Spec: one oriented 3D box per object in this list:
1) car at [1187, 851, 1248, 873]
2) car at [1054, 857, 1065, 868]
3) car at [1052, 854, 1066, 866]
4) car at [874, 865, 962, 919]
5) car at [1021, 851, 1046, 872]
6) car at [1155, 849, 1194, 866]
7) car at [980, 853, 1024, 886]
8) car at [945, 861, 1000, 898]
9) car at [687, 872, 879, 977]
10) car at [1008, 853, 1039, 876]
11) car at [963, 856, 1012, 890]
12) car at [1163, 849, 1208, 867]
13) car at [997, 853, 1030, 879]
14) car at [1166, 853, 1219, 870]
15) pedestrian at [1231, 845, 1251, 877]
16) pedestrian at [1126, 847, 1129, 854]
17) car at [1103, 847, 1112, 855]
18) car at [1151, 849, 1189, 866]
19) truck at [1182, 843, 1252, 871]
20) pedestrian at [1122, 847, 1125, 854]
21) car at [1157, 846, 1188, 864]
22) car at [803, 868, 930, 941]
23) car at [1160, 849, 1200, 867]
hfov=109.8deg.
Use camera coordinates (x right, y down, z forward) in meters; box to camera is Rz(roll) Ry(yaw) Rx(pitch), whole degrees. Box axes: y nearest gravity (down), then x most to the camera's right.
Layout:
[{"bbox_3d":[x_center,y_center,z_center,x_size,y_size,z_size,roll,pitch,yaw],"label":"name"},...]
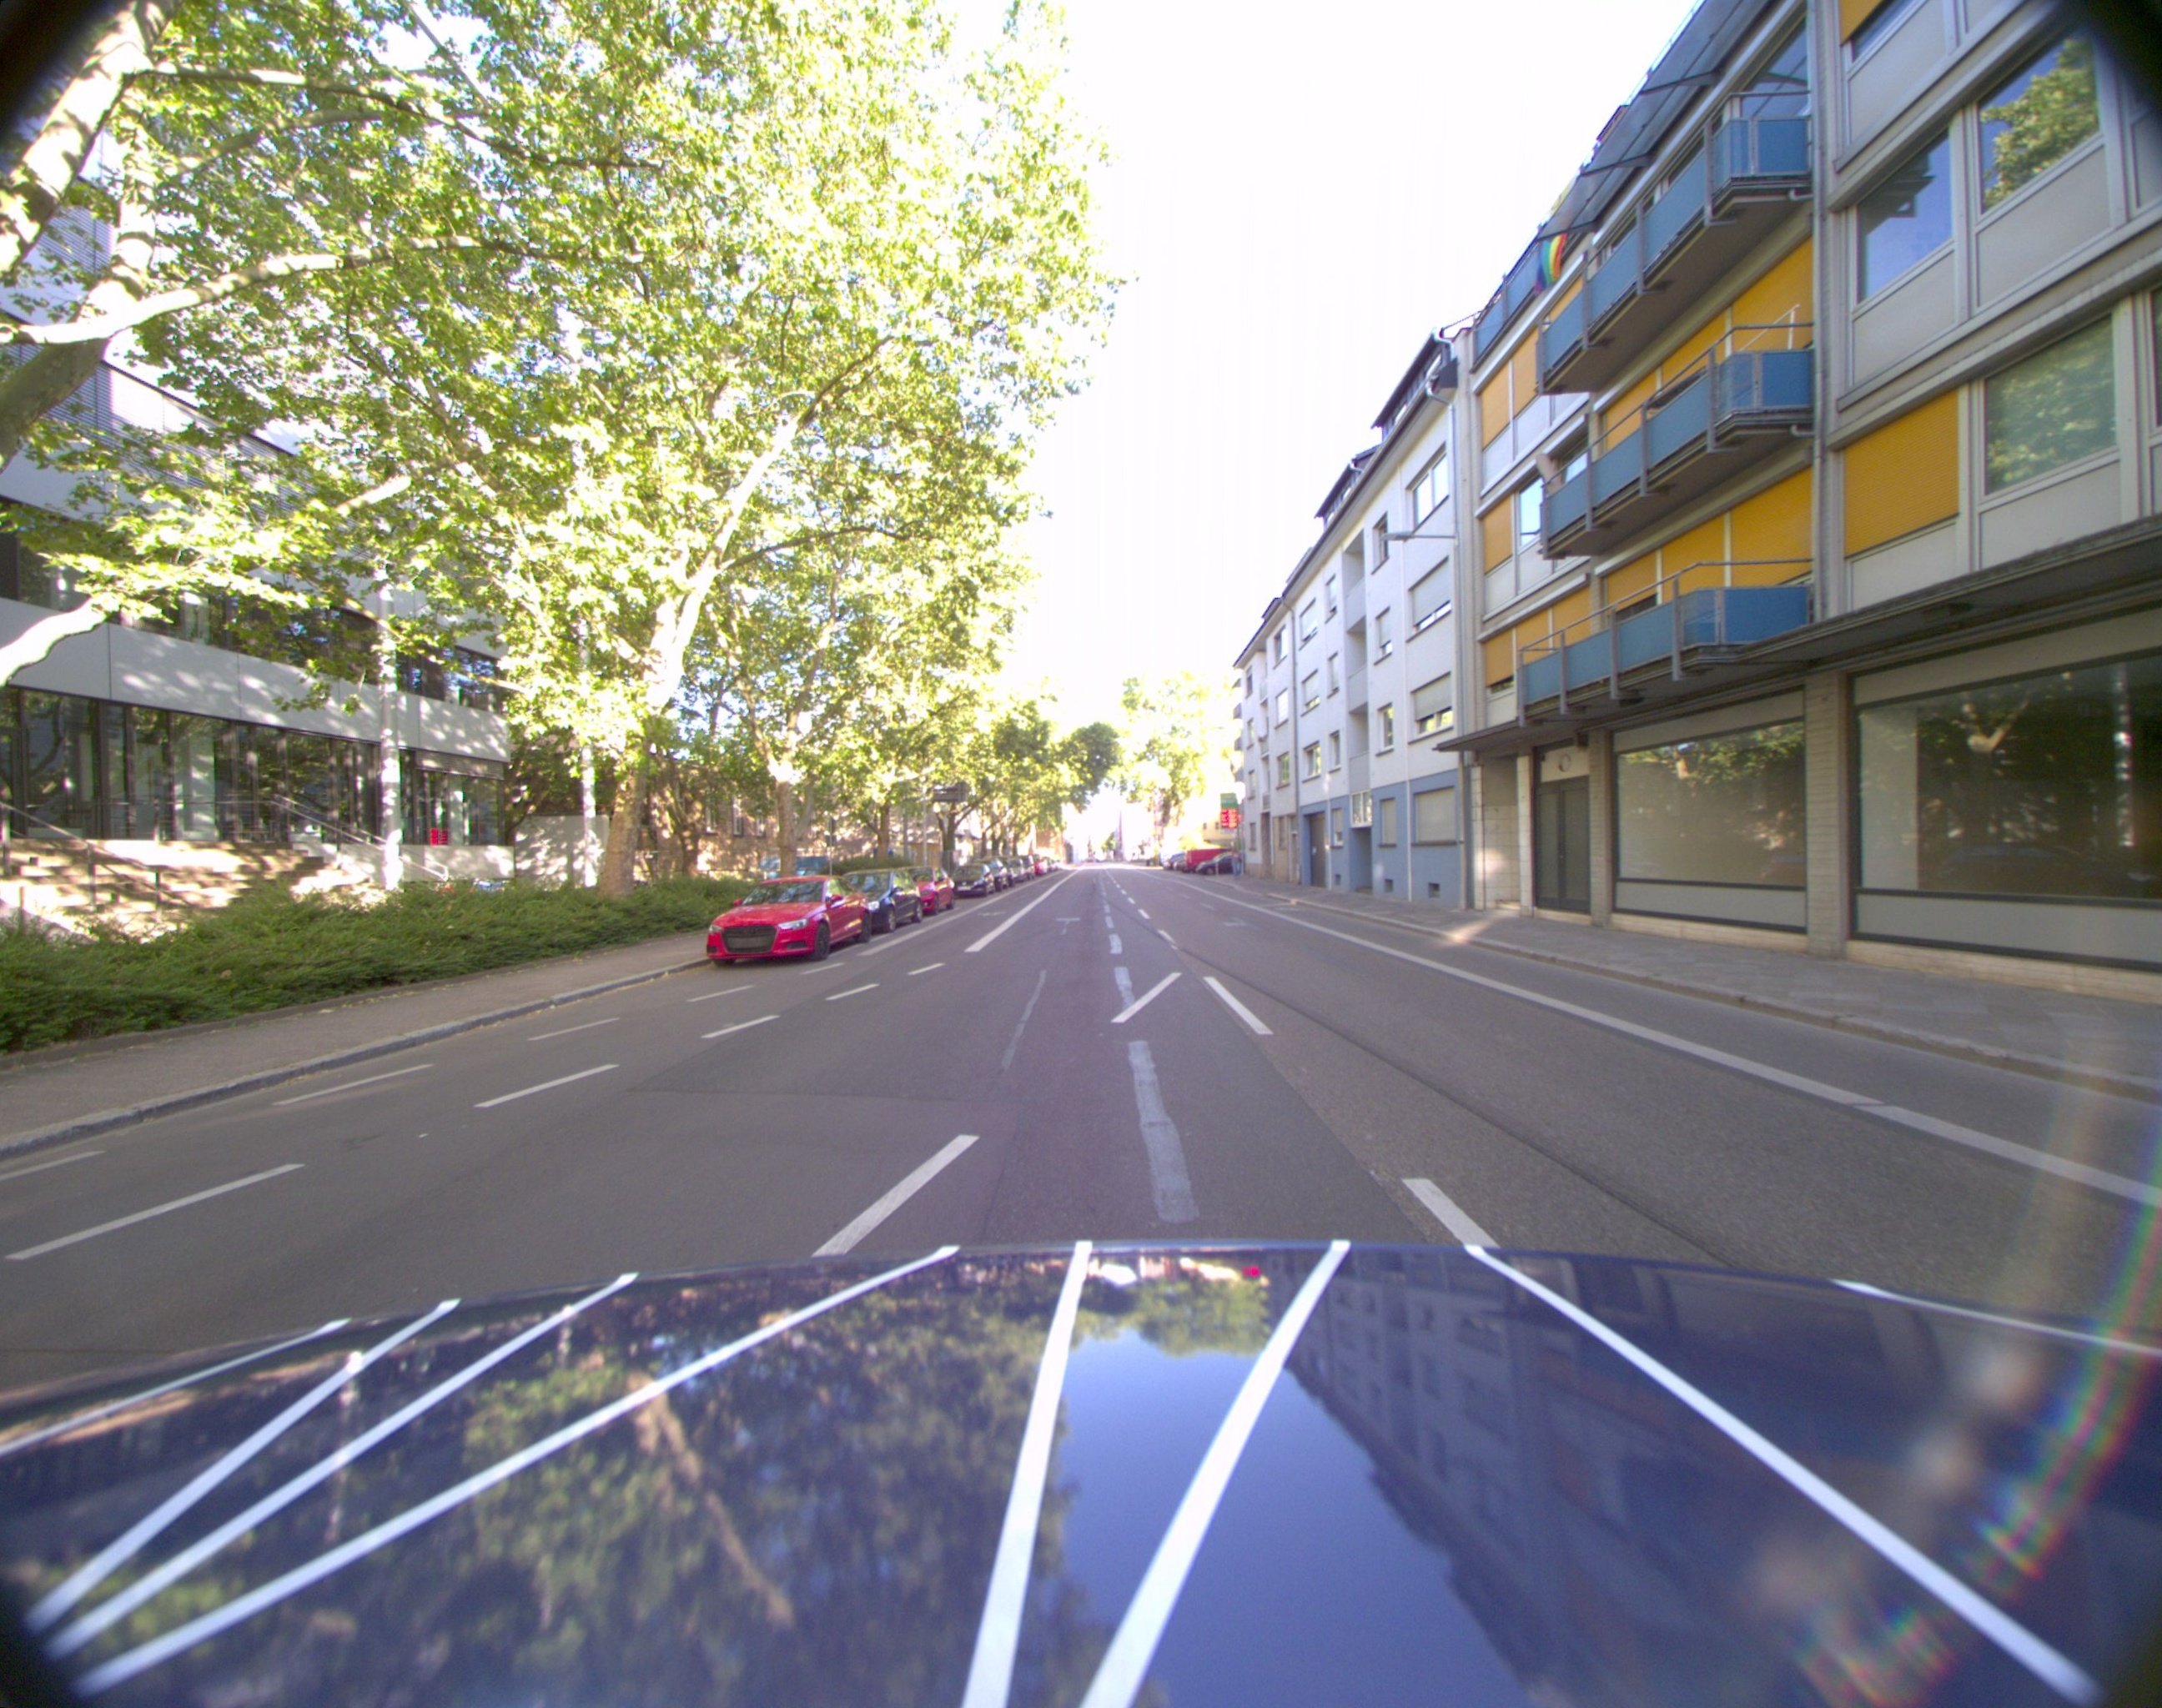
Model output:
[{"bbox_3d":[9.822,0.594,54.846,3.997,1.385,1.781,-2,1,-1],"label":"car"},{"bbox_3d":[-2.625,1.015,92.459,1.300,1.220,3.240,-1,2,0],"label":"car"},{"bbox_3d":[-2.956,0.809,102.876,1.707,1.459,3.809,-1,0,0],"label":"car"},{"bbox_3d":[-4.952,1.109,23.608,1.790,1.429,4.000,-1,0,1],"label":"car"},{"bbox_3d":[-4.105,0.610,66.197,1.876,1.685,4.166,-1,0,1],"label":"car"},{"bbox_3d":[9.618,0.367,78.585,3.703,1.573,1.718,-2,1,-5],"label":"car"},{"bbox_3d":[-4.542,0.864,44.210,1.998,1.715,4.262,-2,1,1],"label":"car"},{"bbox_3d":[-4.674,1.079,33.280,1.745,1.430,4.000,-1,0,1],"label":"car"},{"bbox_3d":[-5.115,1.134,13.724,1.775,1.416,4.173,-3,0,0],"label":"car"},{"bbox_3d":[-4.166,0.746,55.527,1.831,1.608,4.177,-1,0,1],"label":"car"},{"bbox_3d":[-4.620,0.917,38.226,1.848,1.572,4.232,-2,0,1],"label":"car"},{"bbox_3d":[10.084,0.376,73.379,3.998,1.618,1.702,-2,1,-5],"label":"car"},{"bbox_3d":[-4.438,0.735,50.471,1.798,1.608,4.075,-1,0,1],"label":"car"},{"bbox_3d":[9.217,0.621,62.827,4.033,1.265,1.906,-2,1,-1],"label":"car"},{"bbox_3d":[8.840,0.385,42.049,0.896,1.761,0.741,-2,1,1],"label":"pedestrian"},{"bbox_3d":[12.228,-0.936,199.253,0.535,2.002,0.769,-1,2,42],"label":"pedestrian"},{"bbox_3d":[6.769,-0.811,193.478,1.998,2.002,3.999,-2,1,1],"label":"car"},{"bbox_3d":[9.489,0.363,80.877,3.728,1.579,1.743,-2,1,-5],"label":"car"},{"bbox_3d":[10.730,0.227,60.113,5.088,2.009,2.000,-2,1,0],"label":"truck"},{"bbox_3d":[11.156,-0.912,199.818,0.613,1.981,0.711,-1,2,38],"label":"pedestrian"},{"bbox_3d":[10.234,0.096,85.283,3.267,1.927,1.693,-2,1,2],"label":"car"},{"bbox_3d":[-5.047,1.143,18.498,1.813,1.449,4.000,-1,0,2],"label":"car"},{"bbox_3d":[9.882,0.370,75.927,3.658,1.578,1.659,-2,1,-5],"label":"car"}]
